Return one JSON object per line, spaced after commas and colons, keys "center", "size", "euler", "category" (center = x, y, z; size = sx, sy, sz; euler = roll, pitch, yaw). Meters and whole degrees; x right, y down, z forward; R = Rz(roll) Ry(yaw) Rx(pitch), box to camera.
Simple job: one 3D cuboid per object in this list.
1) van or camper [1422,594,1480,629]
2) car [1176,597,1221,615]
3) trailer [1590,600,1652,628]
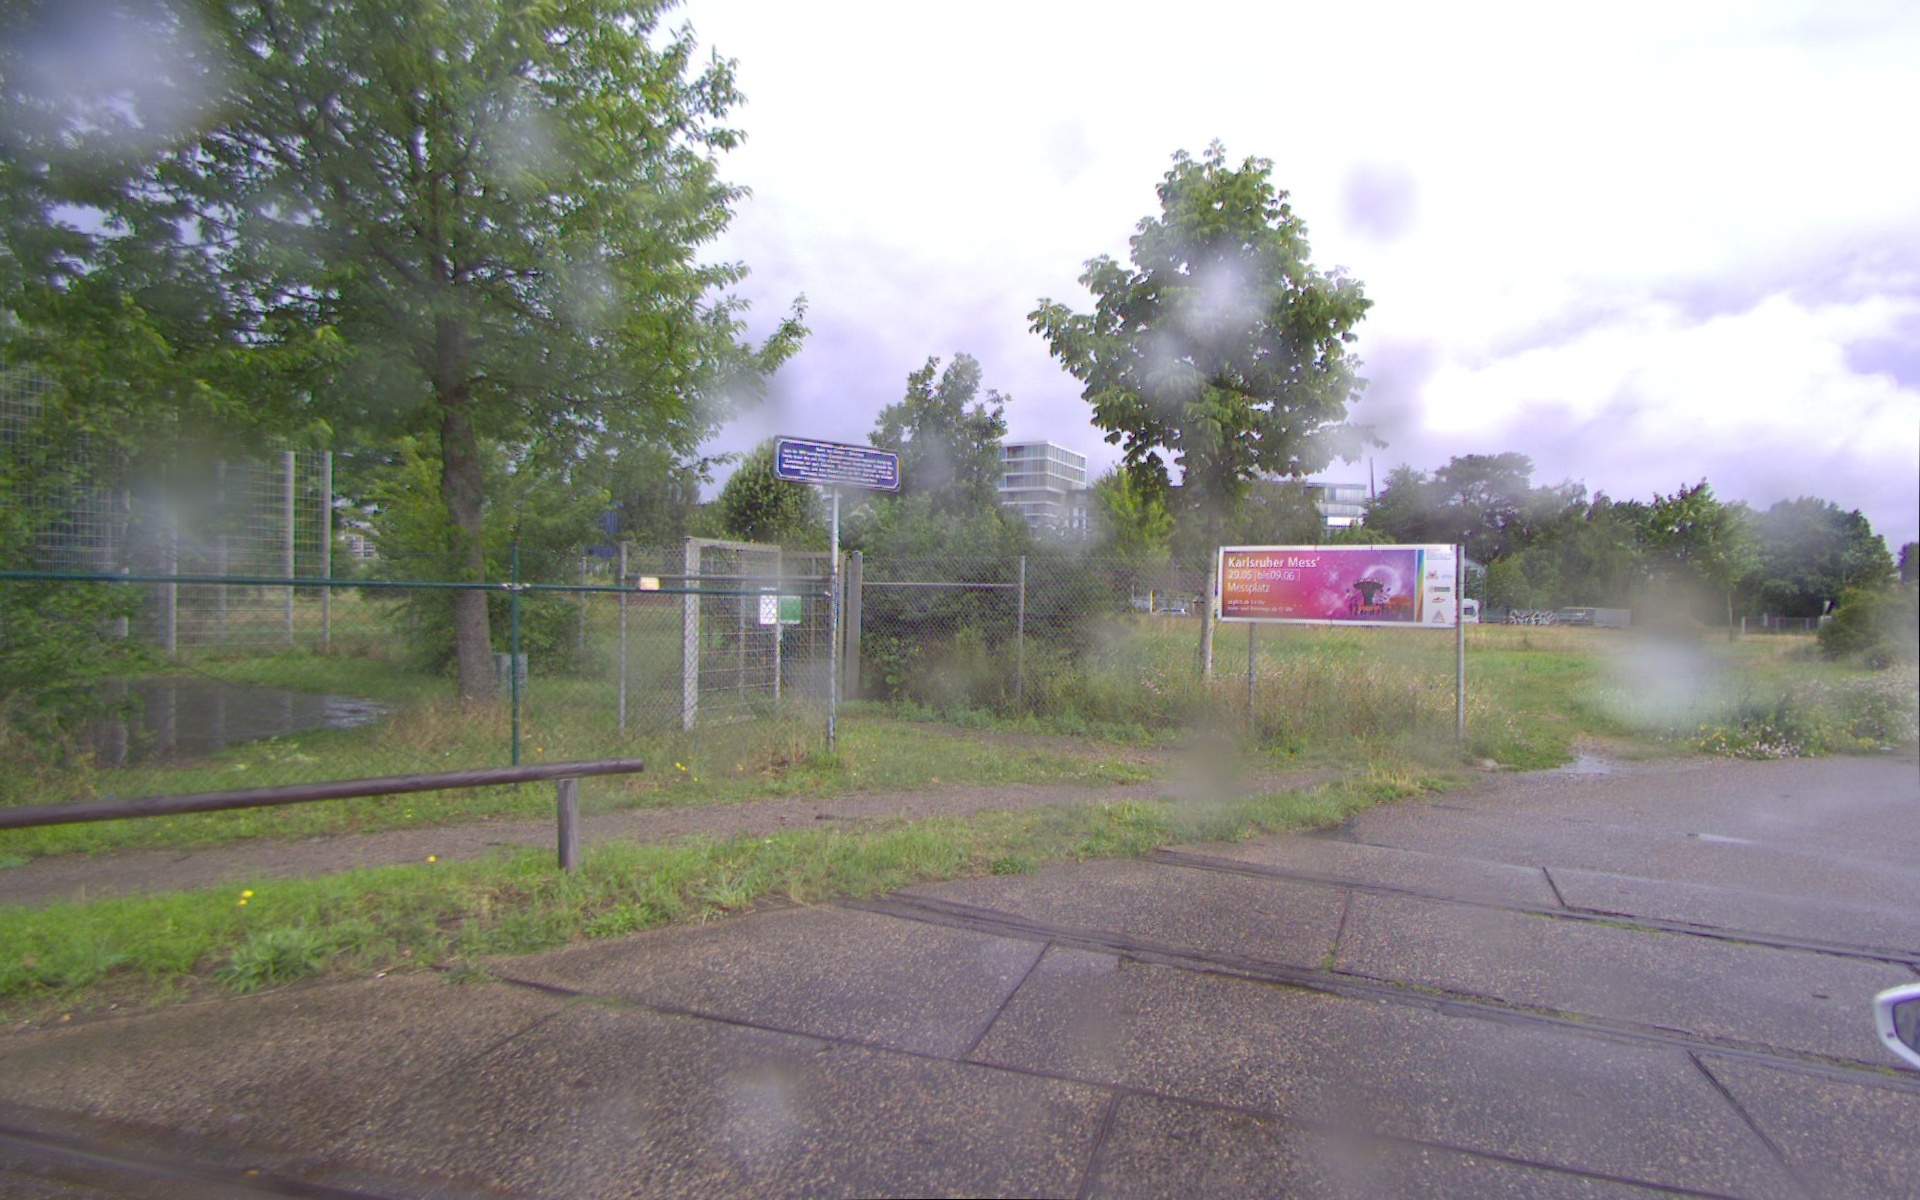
{"center": [43.564, 1.007, 89.104], "size": [4.435, 2.985, 2.479], "euler": [1, 0, 30], "category": "van or camper"}
{"center": [23.713, 0.603, 99.858], "size": [3.927, 1.706, 1.997], "euler": [1, 0, 28], "category": "car"}
{"center": [54.988, 1.133, 83.680], "size": [4.038, 2.117, 1.842], "euler": [3, 1, 28], "category": "trailer"}
